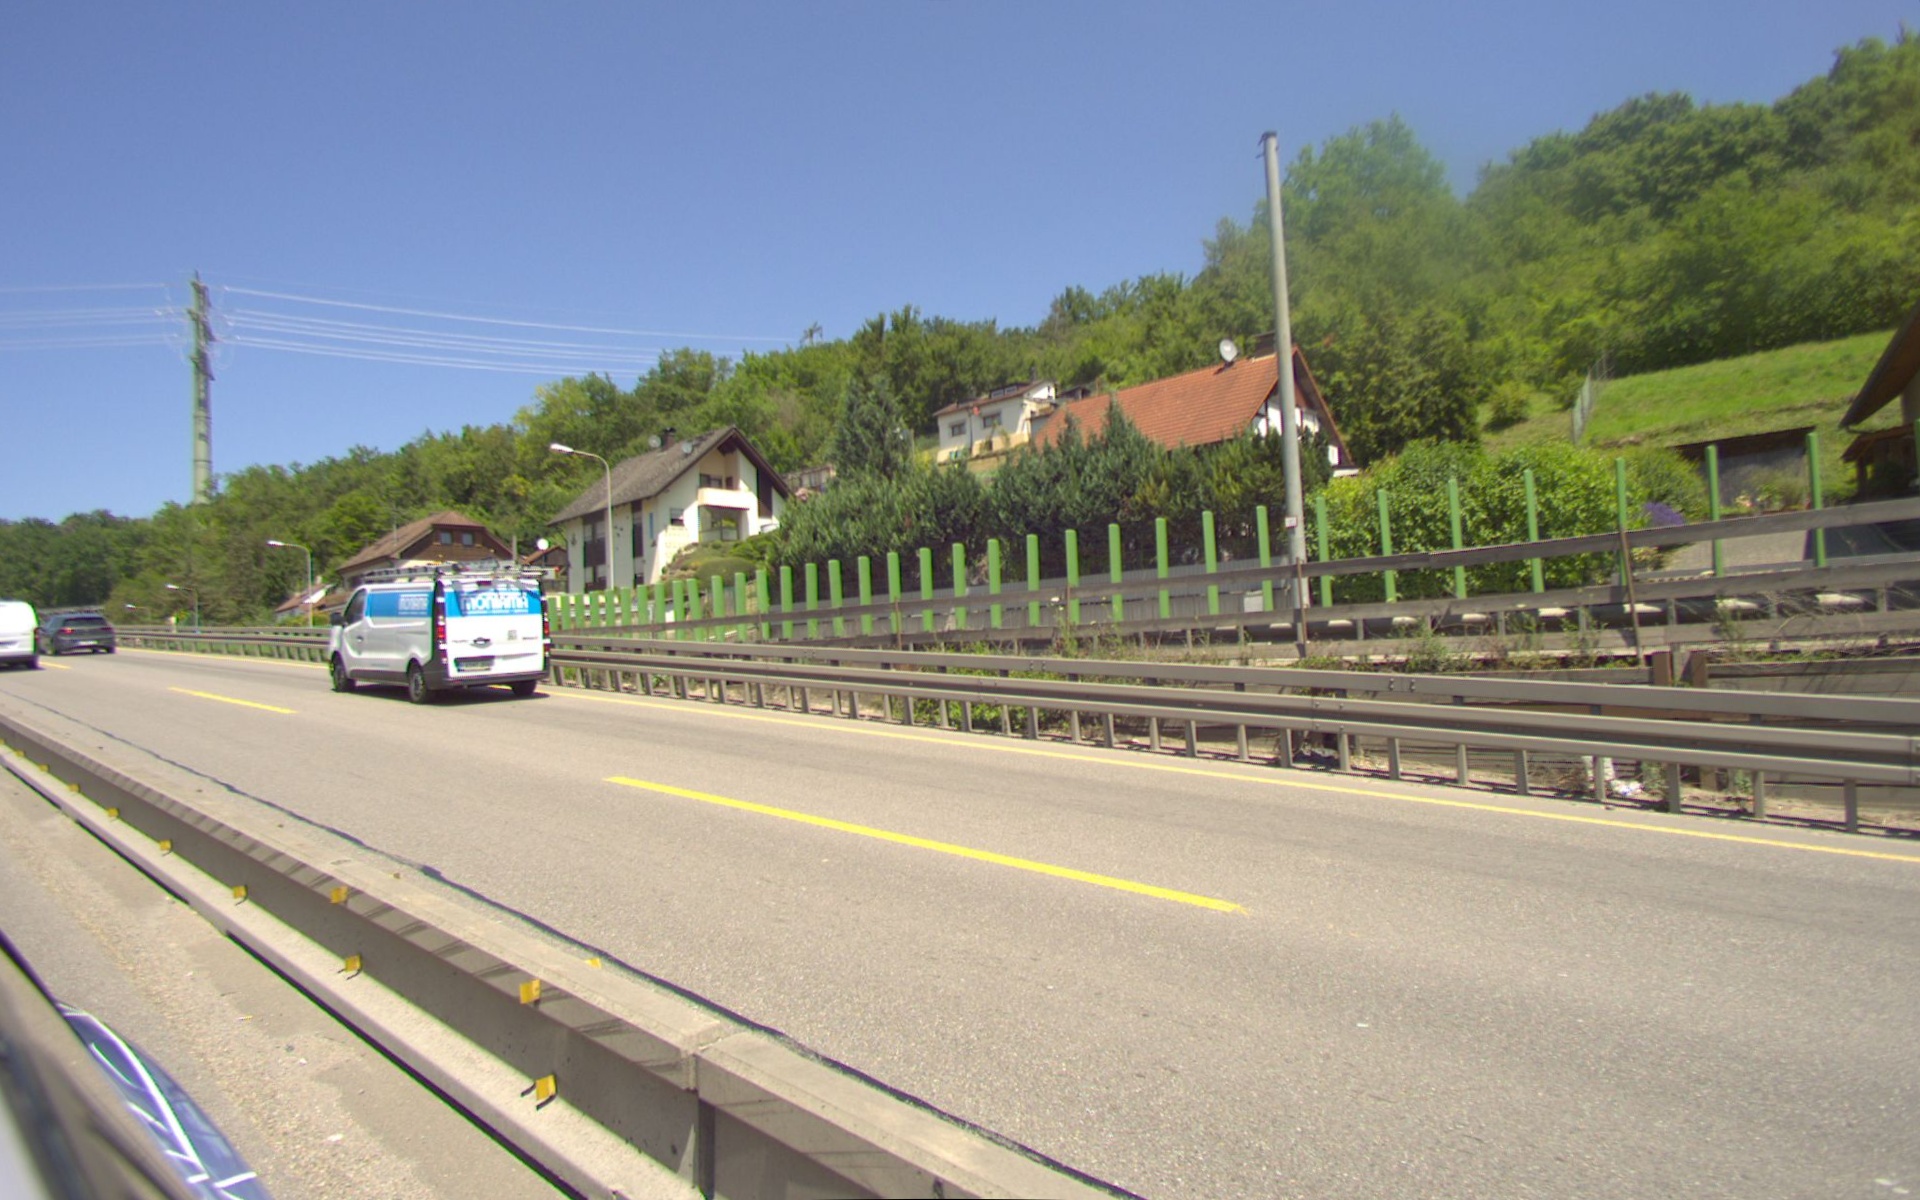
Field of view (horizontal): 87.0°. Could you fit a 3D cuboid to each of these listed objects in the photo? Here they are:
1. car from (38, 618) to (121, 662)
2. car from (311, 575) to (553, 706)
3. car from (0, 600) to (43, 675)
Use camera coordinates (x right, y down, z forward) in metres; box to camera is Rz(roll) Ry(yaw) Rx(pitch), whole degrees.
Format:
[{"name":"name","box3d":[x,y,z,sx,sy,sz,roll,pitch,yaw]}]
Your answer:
[{"name":"car","box3d":[-31.754,1.392,36.478,4.051,1.453,1.731,-1,0,41]},{"name":"car","box3d":[-9.189,0.644,17.381,5.239,1.940,1.807,-1,-1,40]},{"name":"car","box3d":[-27.000,0.996,27.764,5.324,1.920,2.135,-1,0,41]}]
